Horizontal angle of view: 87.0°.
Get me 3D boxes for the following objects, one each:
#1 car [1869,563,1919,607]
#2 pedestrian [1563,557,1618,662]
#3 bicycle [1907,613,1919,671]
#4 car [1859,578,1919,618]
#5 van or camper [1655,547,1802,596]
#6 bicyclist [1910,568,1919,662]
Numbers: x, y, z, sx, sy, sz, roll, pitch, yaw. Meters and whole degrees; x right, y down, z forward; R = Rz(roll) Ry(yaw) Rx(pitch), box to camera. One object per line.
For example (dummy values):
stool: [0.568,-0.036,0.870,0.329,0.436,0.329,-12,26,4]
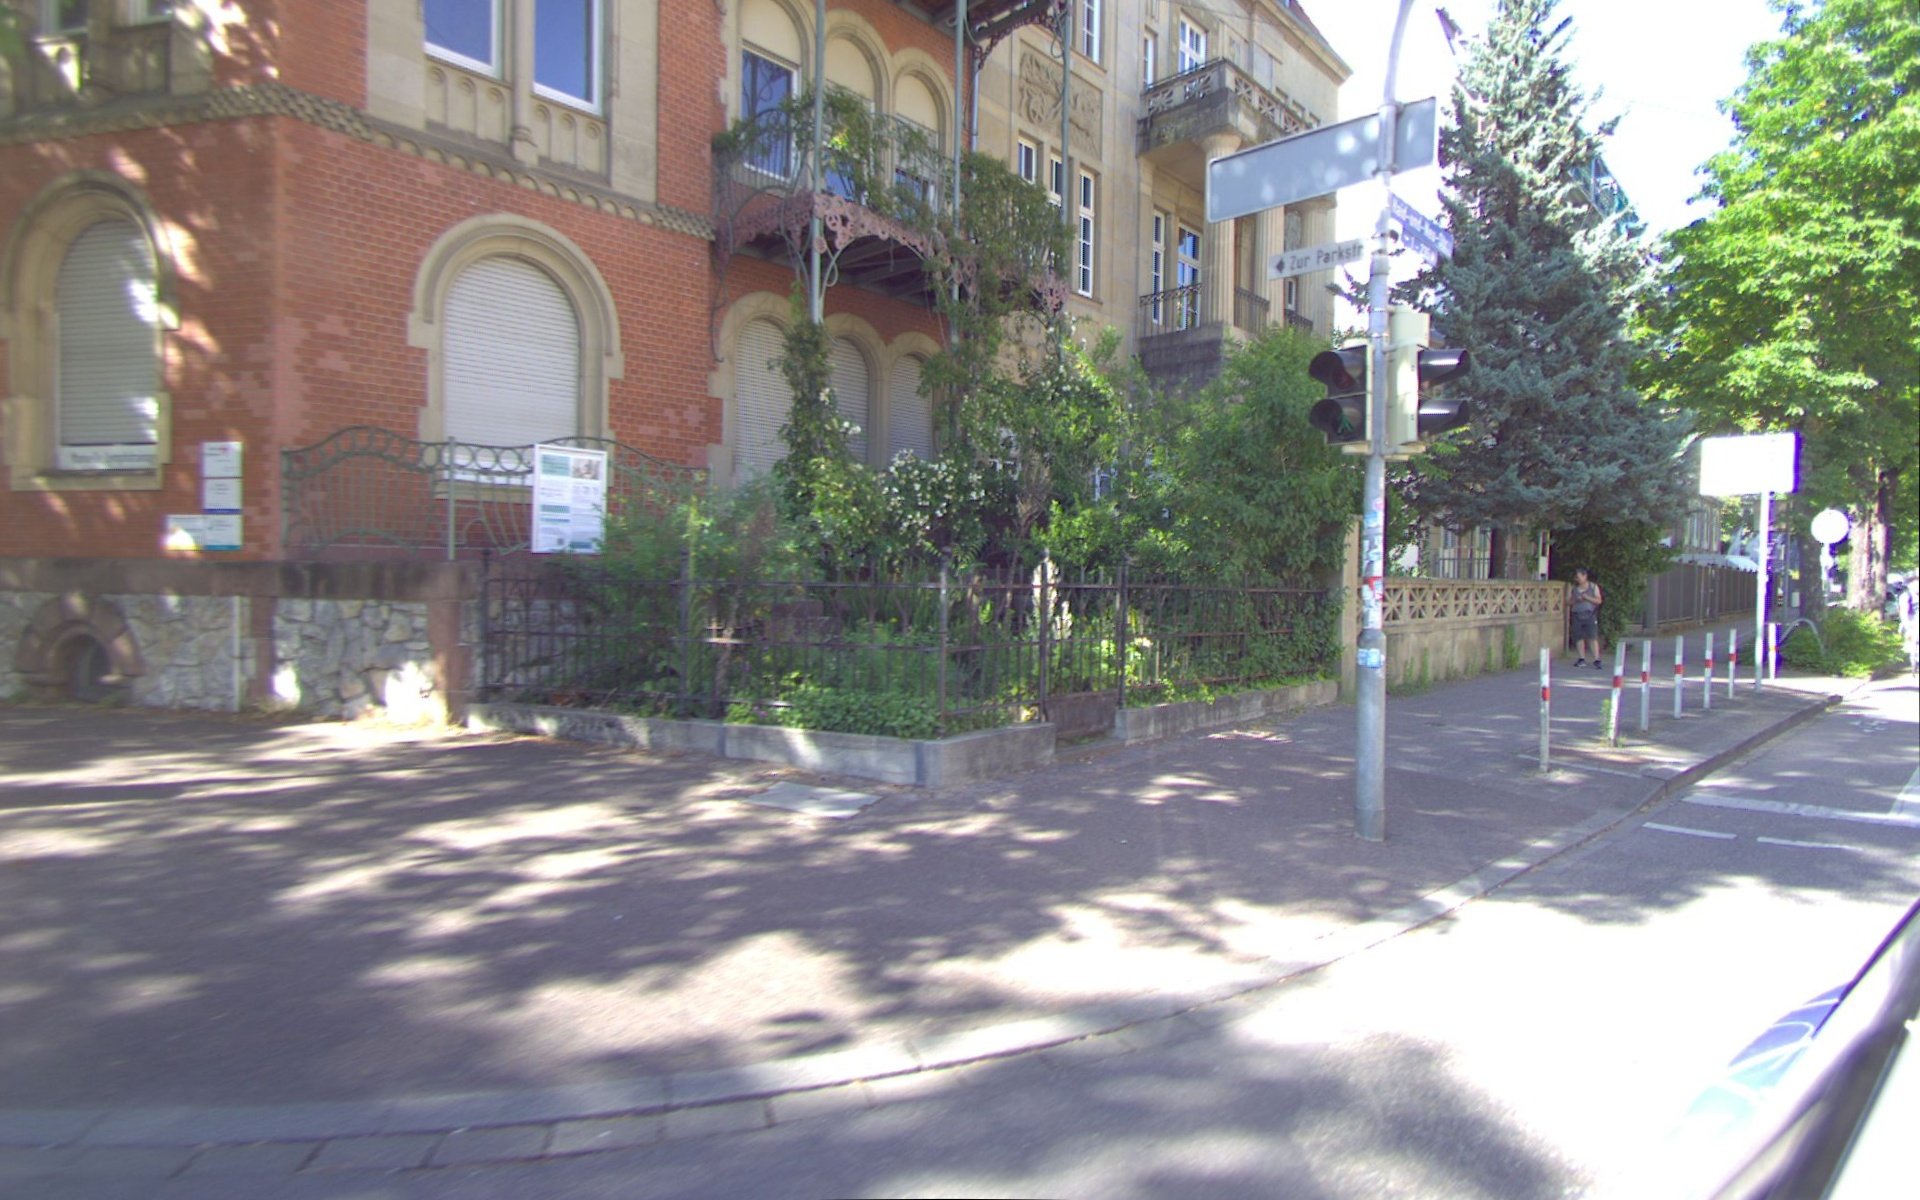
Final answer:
car: [53.355,-0.918,57.750,2.126,2.371,5.719,3,4,42]
pedestrian: [10.524,0.136,16.884,0.636,1.691,0.592,-2,4,-44]
bicycle: [17.590,0.751,18.348,2.023,0.933,0.534,-2,1,-44]
car: [40.987,-0.150,44.700,1.871,1.562,4.300,4,4,42]
van or camper: [44.535,-1.649,58.909,2.078,2.659,6.752,-1,1,-21]
bicyclist: [17.613,0.259,18.353,0.864,1.690,0.531,-2,1,-44]
